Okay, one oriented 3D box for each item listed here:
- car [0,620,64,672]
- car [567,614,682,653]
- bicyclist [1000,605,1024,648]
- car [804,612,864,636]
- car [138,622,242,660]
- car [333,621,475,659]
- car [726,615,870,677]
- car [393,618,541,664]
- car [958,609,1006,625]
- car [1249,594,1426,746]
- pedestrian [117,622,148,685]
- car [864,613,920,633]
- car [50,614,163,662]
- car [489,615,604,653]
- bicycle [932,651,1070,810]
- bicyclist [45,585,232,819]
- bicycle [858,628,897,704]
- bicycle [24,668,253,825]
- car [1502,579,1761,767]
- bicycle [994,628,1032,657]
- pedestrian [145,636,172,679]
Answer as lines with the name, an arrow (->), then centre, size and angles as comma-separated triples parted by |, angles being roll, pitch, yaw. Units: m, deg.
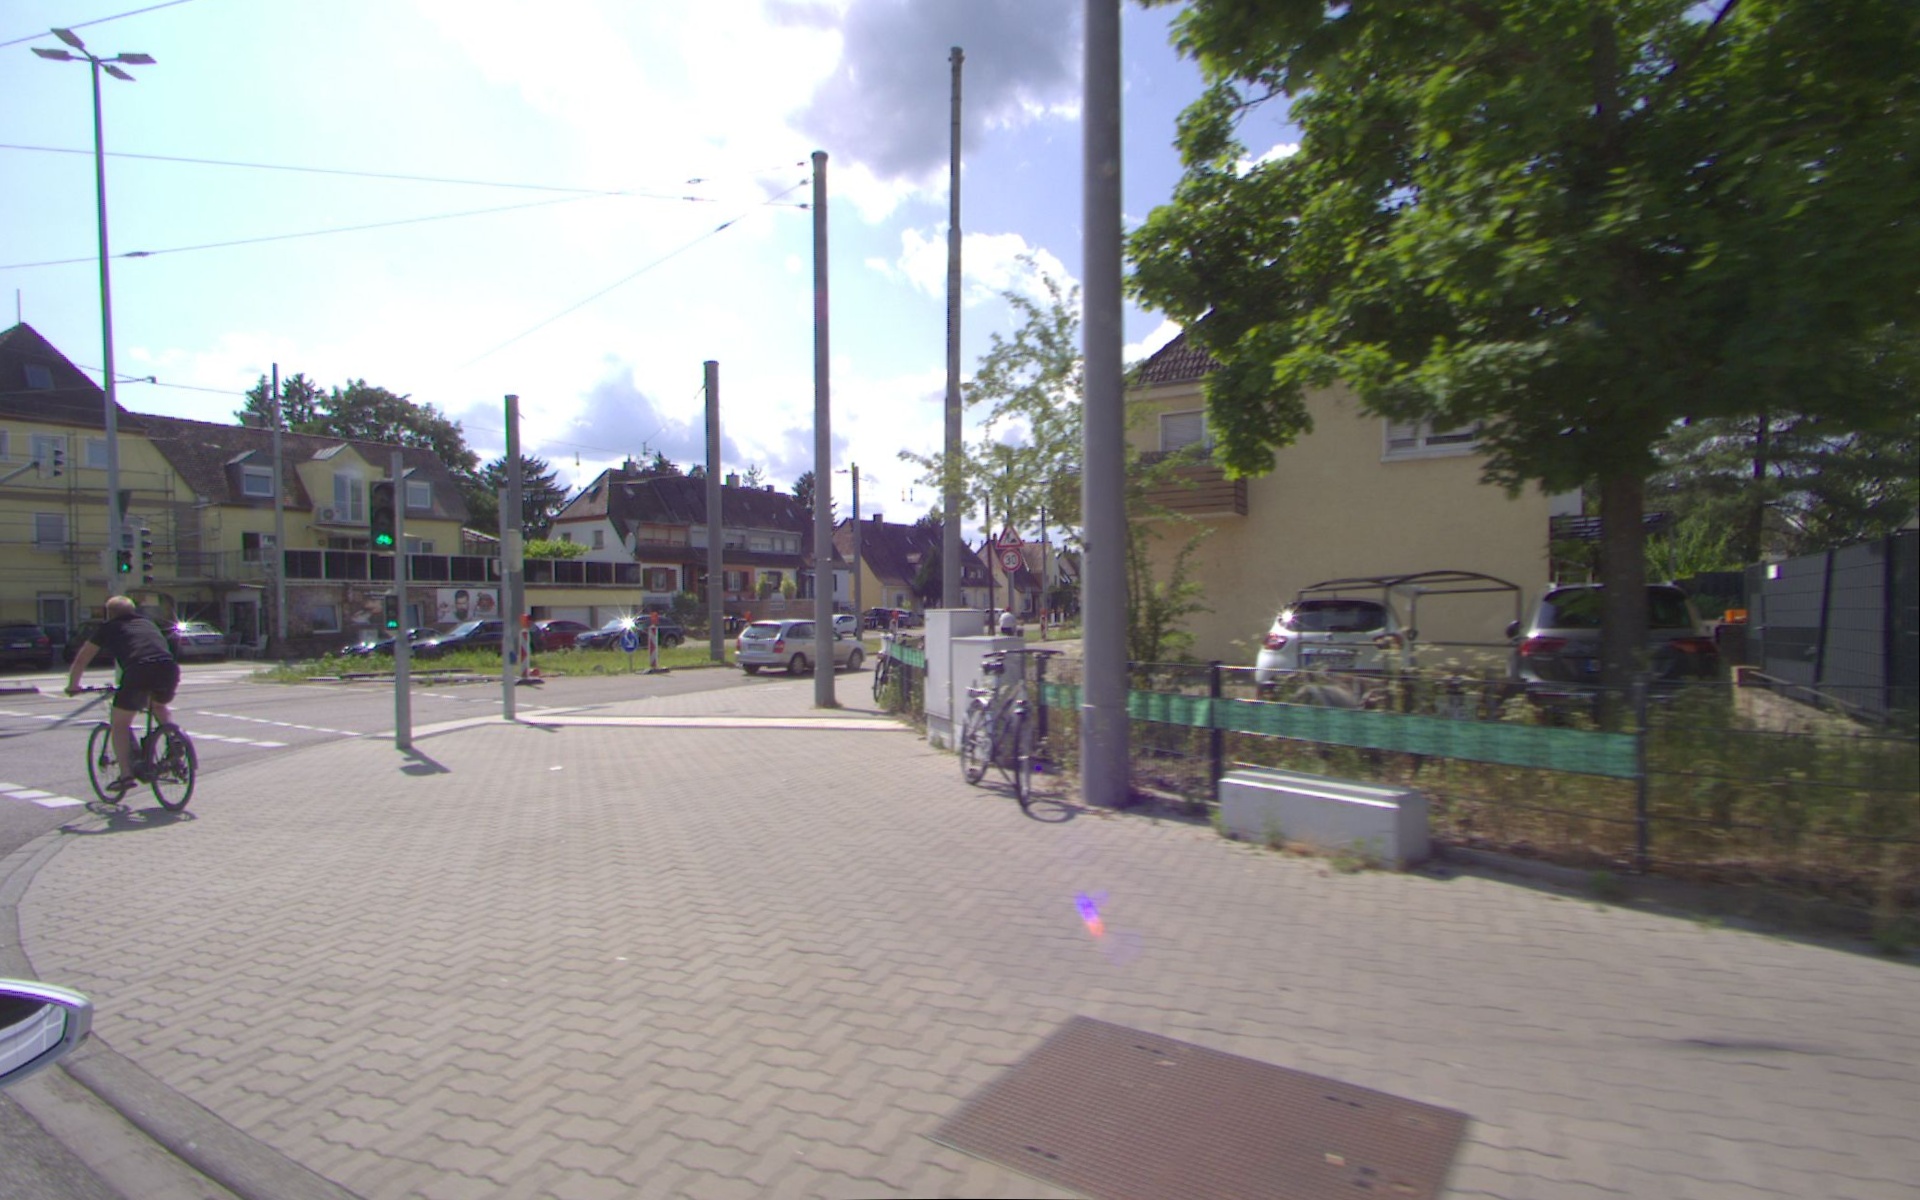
car -> -31.531, 1.513, 33.009 | 4.073, 1.616, 1.990 | -2, -2, 33
car -> -13.272, 1.302, 39.866 | 1.713, 1.346, 4.309 | -2, 0, 29
bicyclist -> 1.539, 0.780, 29.543 | 0.501, 1.250, 0.576 | -1, 0, 28
car -> -8.196, 1.588, 65.522 | 1.713, 1.492, 4.312 | -2, -2, 29
car -> -28.960, 1.562, 37.633 | 4.073, 1.368, 1.864 | -2, -2, 33
car -> -20.141, 1.452, 36.473 | 1.713, 1.325, 4.312 | -2, -2, 29
car -> -4.241, 1.169, 26.851 | 1.708, 1.422, 3.999 | 3, 1, 29
car -> -16.754, 1.376, 34.246 | 1.713, 1.346, 4.309 | -2, 0, 29
car -> 2.102, 1.669, 96.763 | 4.258, 1.492, 1.948 | -2, -2, 24
car -> 4.998, 0.779, 12.910 | 1.771, 1.617, 4.105 | 0, -1, 26
pedestrian -> -22.160, 1.438, 26.814 | 0.396, 1.664, 0.545 | -2, -2, 37
car -> -5.494, 1.893, 81.205 | 4.259, 1.492, 1.735 | -2, -2, 25
car -> -30.450, 1.386, 35.708 | 4.073, 1.616, 1.990 | -2, -2, 33
car -> -17.128, 1.403, 41.632 | 1.713, 1.492, 4.312 | -2, -2, 29
bicycle -> 0.256, 0.912, 7.559 | 0.455, 1.031, 1.753 | 0, -2, -18
bicyclist -> -6.888, 0.800, 8.408 | 1.067, 1.818, 0.827 | 0, 2, 29
bicycle -> -1.312, 1.044, 16.105 | 0.374, 1.152, 1.575 | -1, -2, 4
bicycle -> -6.945, 1.174, 8.451 | 1.941, 1.090, 0.827 | -1, 1, 30
car -> 7.001, 0.661, 10.870 | 1.771, 1.617, 4.105 | 0, -1, 26
bicycle -> 1.587, 1.253, 29.640 | 0.497, 0.791, 1.578 | -1, 0, 27
pedestrian -> -21.854, 1.571, 27.313 | 0.383, 1.150, 0.487 | -1, -2, 33
